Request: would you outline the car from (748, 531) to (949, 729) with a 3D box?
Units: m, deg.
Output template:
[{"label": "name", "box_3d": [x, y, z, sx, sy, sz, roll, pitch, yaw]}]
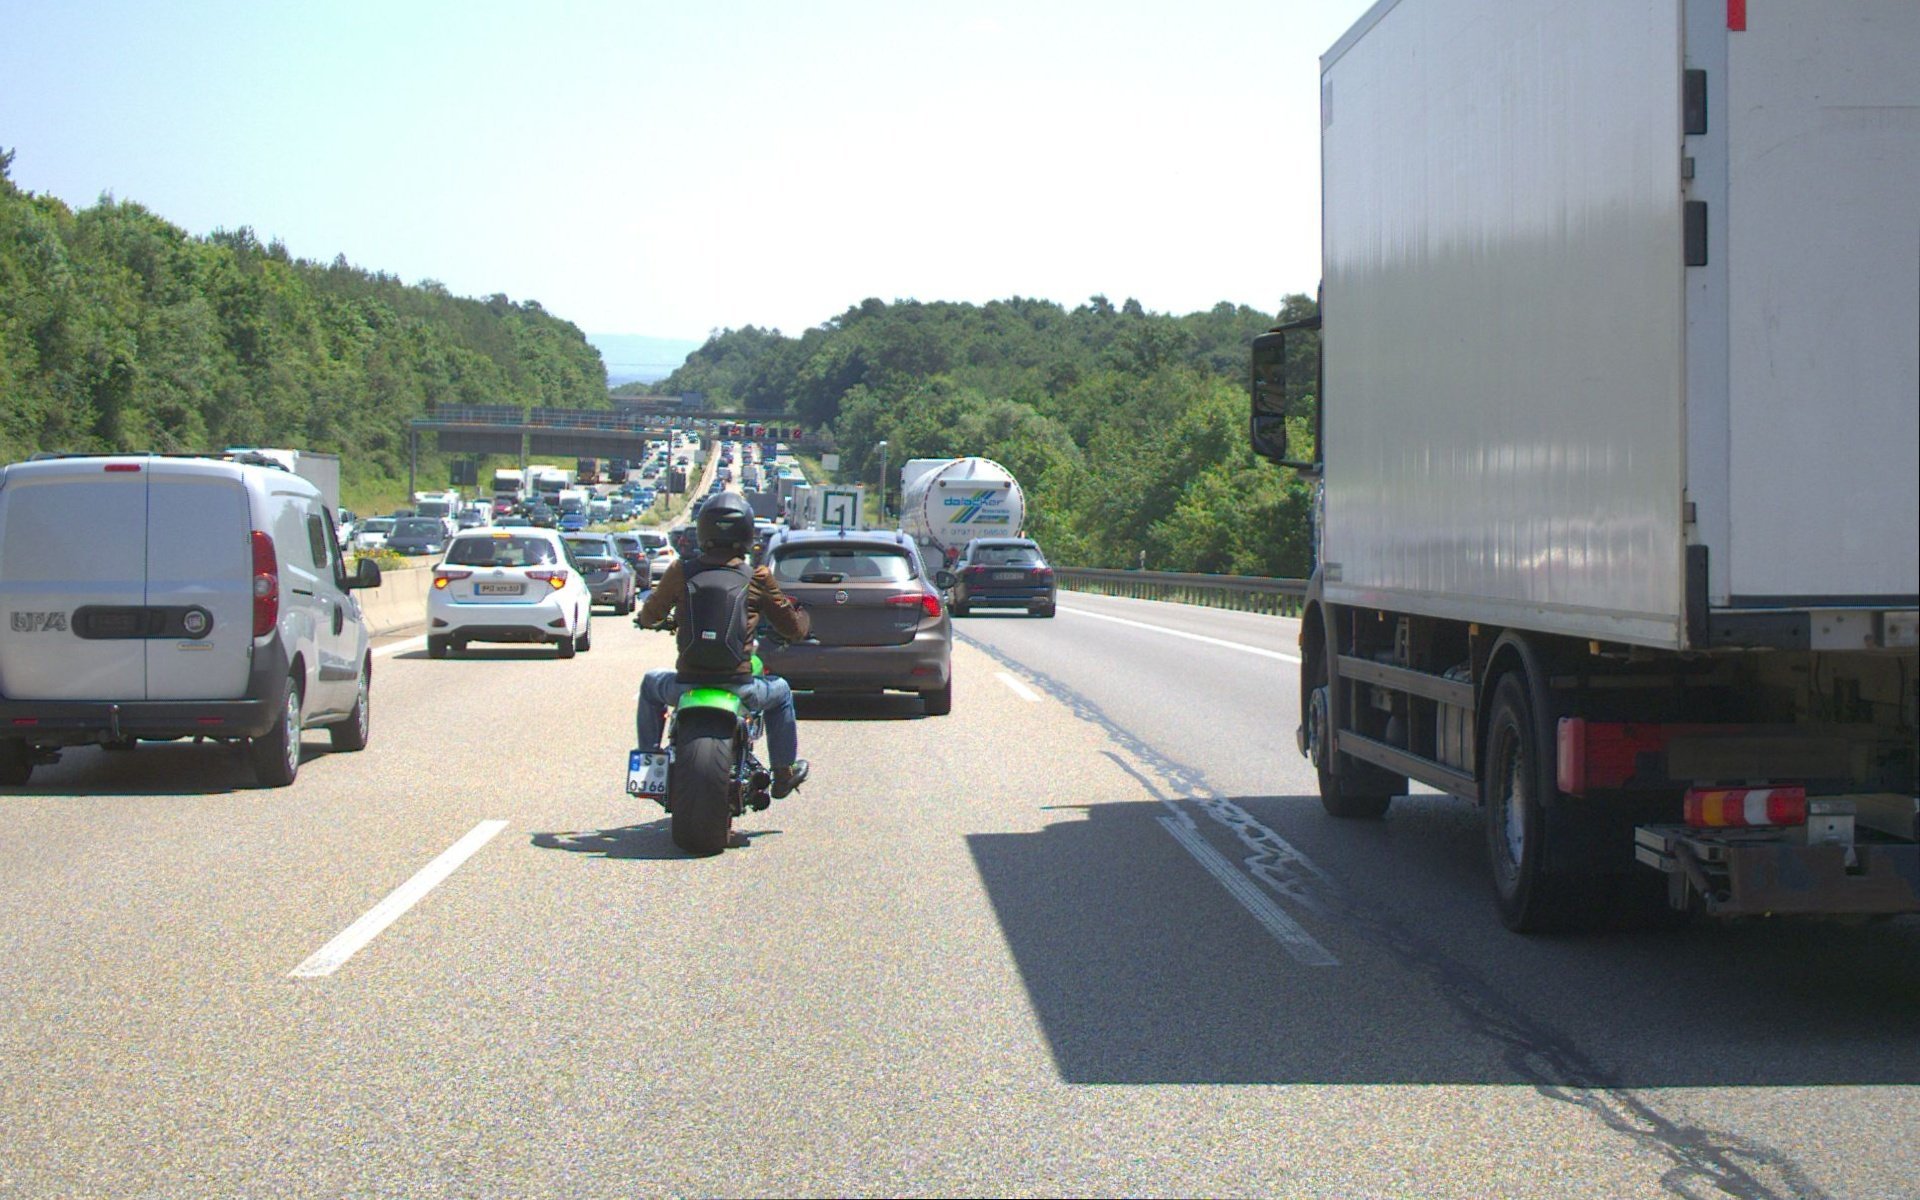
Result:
[{"label": "car", "box_3d": [-0.932, 0.192, 28.499, 1.532, 1.504, 4.001, 0, 1, -2]}]

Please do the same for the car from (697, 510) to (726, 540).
[{"label": "car", "box_3d": [-17.149, -5.155, 237.474, 1.929, 2.007, 4.001, 0, 1, -3]}]

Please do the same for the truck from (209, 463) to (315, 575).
[{"label": "truck", "box_3d": [-25.151, -2.880, 124.165, 2.812, 3.895, 7.317, 0, 1, -4]}]

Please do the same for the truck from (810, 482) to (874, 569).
[{"label": "truck", "box_3d": [-6.617, -4.187, 190.913, 3.033, 4.526, 9.984, 3, 1, -4]}]

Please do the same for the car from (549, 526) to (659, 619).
[{"label": "car", "box_3d": [-6.235, -0.507, 60.463, 1.699, 1.473, 4.001, 2, 2, -4]}]

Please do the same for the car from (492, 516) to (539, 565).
[{"label": "car", "box_3d": [-18.763, -2.511, 145.117, 1.763, 2.007, 4.001, 0, 1, -5]}]

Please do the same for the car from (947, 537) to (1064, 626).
[{"label": "car", "box_3d": [0.814, -0.372, 64.465, 1.828, 1.465, 4.001, 3, 1, -4]}]

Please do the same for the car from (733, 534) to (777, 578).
[{"label": "car", "box_3d": [-7.034, -1.519, 118.245, 1.392, 1.458, 2.779, 0, 1, -1]}]

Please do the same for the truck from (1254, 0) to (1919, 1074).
[{"label": "truck", "box_3d": [3.194, -0.679, 14.799, 2.688, 3.863, 9.781, 0, 1, -2]}]

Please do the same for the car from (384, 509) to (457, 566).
[{"label": "car", "box_3d": [-16.504, -1.915, 105.308, 1.683, 1.692, 4.659, 0, 1, -2]}]

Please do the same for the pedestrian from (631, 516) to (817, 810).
[{"label": "pedestrian", "box_3d": [-1.112, 0.280, 16.388, 0.849, 1.357, 0.962, 0, 1, -2]}]

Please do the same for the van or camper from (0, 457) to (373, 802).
[{"label": "van or camper", "box_3d": [-4.731, 0.136, 20.951, 1.796, 1.886, 4.160, 0, 1, -3]}]

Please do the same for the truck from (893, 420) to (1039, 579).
[{"label": "truck", "box_3d": [0.041, -2.394, 84.499, 2.987, 3.659, 9.289, 0, 1, -3]}]

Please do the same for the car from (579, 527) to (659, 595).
[{"label": "car", "box_3d": [-8.117, -0.943, 82.114, 1.699, 1.473, 4.001, 2, 2, -4]}]

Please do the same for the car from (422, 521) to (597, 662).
[{"label": "car", "box_3d": [-5.230, -0.140, 40.293, 1.699, 1.473, 4.001, 2, 2, -4]}]

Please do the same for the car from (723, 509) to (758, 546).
[{"label": "car", "box_3d": [-12.138, -3.975, 189.672, 1.801, 2.007, 4.001, 0, 1, -5]}]

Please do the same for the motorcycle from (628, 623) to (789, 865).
[{"label": "motorcycle", "box_3d": [-1.178, 0.653, 16.430, 0.691, 1.012, 2.122, 0, 1, -2]}]

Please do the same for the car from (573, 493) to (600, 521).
[{"label": "car", "box_3d": [-26.779, -6.636, 246.516, 1.891, 1.941, 4.001, 0, 1, -5]}]

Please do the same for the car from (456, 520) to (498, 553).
[{"label": "car", "box_3d": [-30.235, -4.007, 215.325, 2.227, 2.007, 5.813, 0, 1, -4]}]

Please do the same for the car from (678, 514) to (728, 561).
[{"label": "car", "box_3d": [-10.663, -2.615, 142.832, 1.880, 1.853, 4.001, 3, 1, -3]}]

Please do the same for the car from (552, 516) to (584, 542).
[{"label": "car", "box_3d": [-23.321, -4.223, 204.395, 1.710, 1.532, 4.129, 1, 1, -4]}]

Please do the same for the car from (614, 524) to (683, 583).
[{"label": "car", "box_3d": [-8.414, -1.287, 93.163, 1.699, 1.473, 4.001, 2, 2, -4]}]
